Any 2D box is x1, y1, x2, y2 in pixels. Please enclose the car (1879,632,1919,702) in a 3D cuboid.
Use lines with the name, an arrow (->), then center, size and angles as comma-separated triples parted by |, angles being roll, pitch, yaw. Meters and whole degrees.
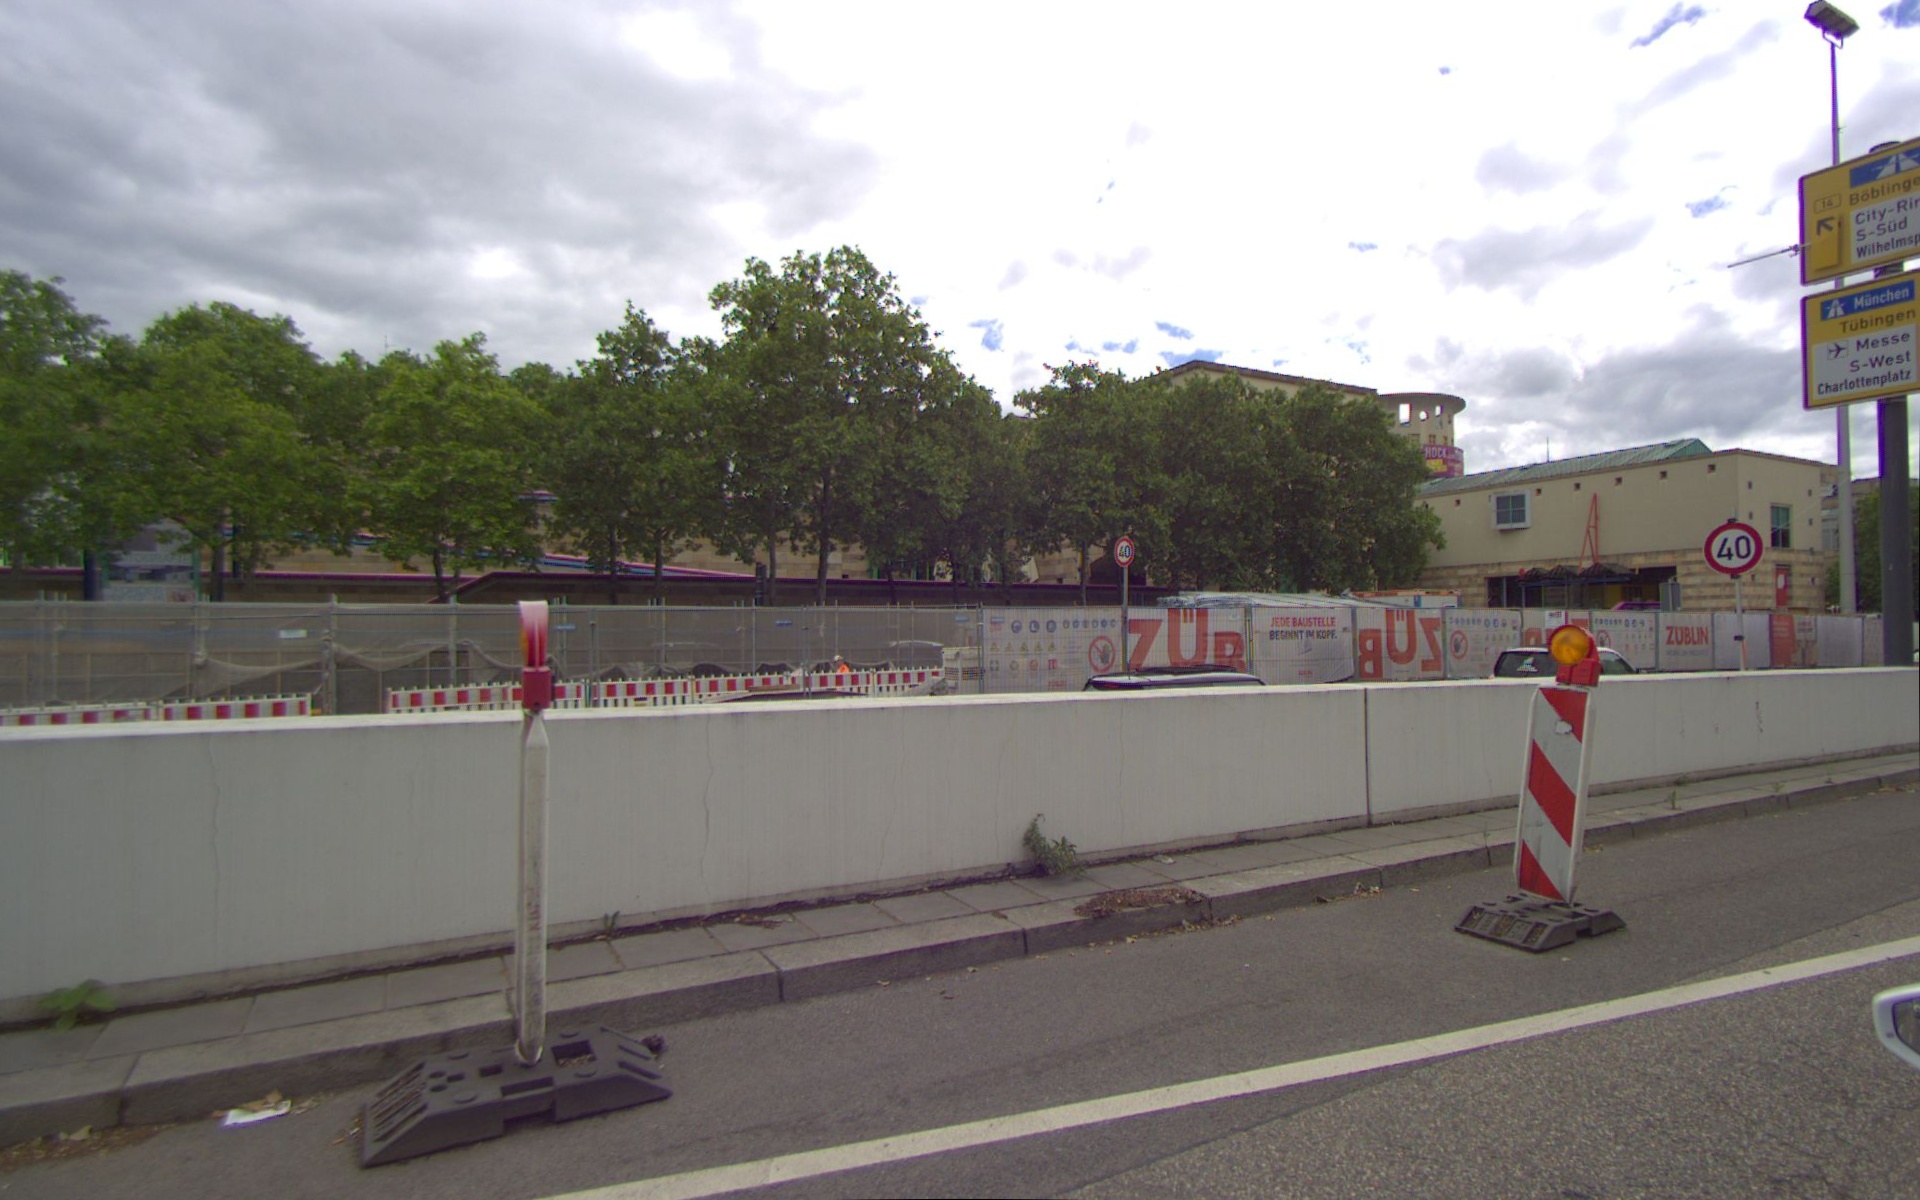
car -> 23.804, 1.579, 23.885 | 4.282, 1.588, 1.742 | 2, -2, -31

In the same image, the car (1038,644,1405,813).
car -> 3.095, 1.352, 11.828 | 3.953, 1.663, 1.984 | 1, -3, -30

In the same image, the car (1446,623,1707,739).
car -> 10.016, 1.243, 16.288 | 3.953, 1.663, 1.984 | 1, -3, -30
